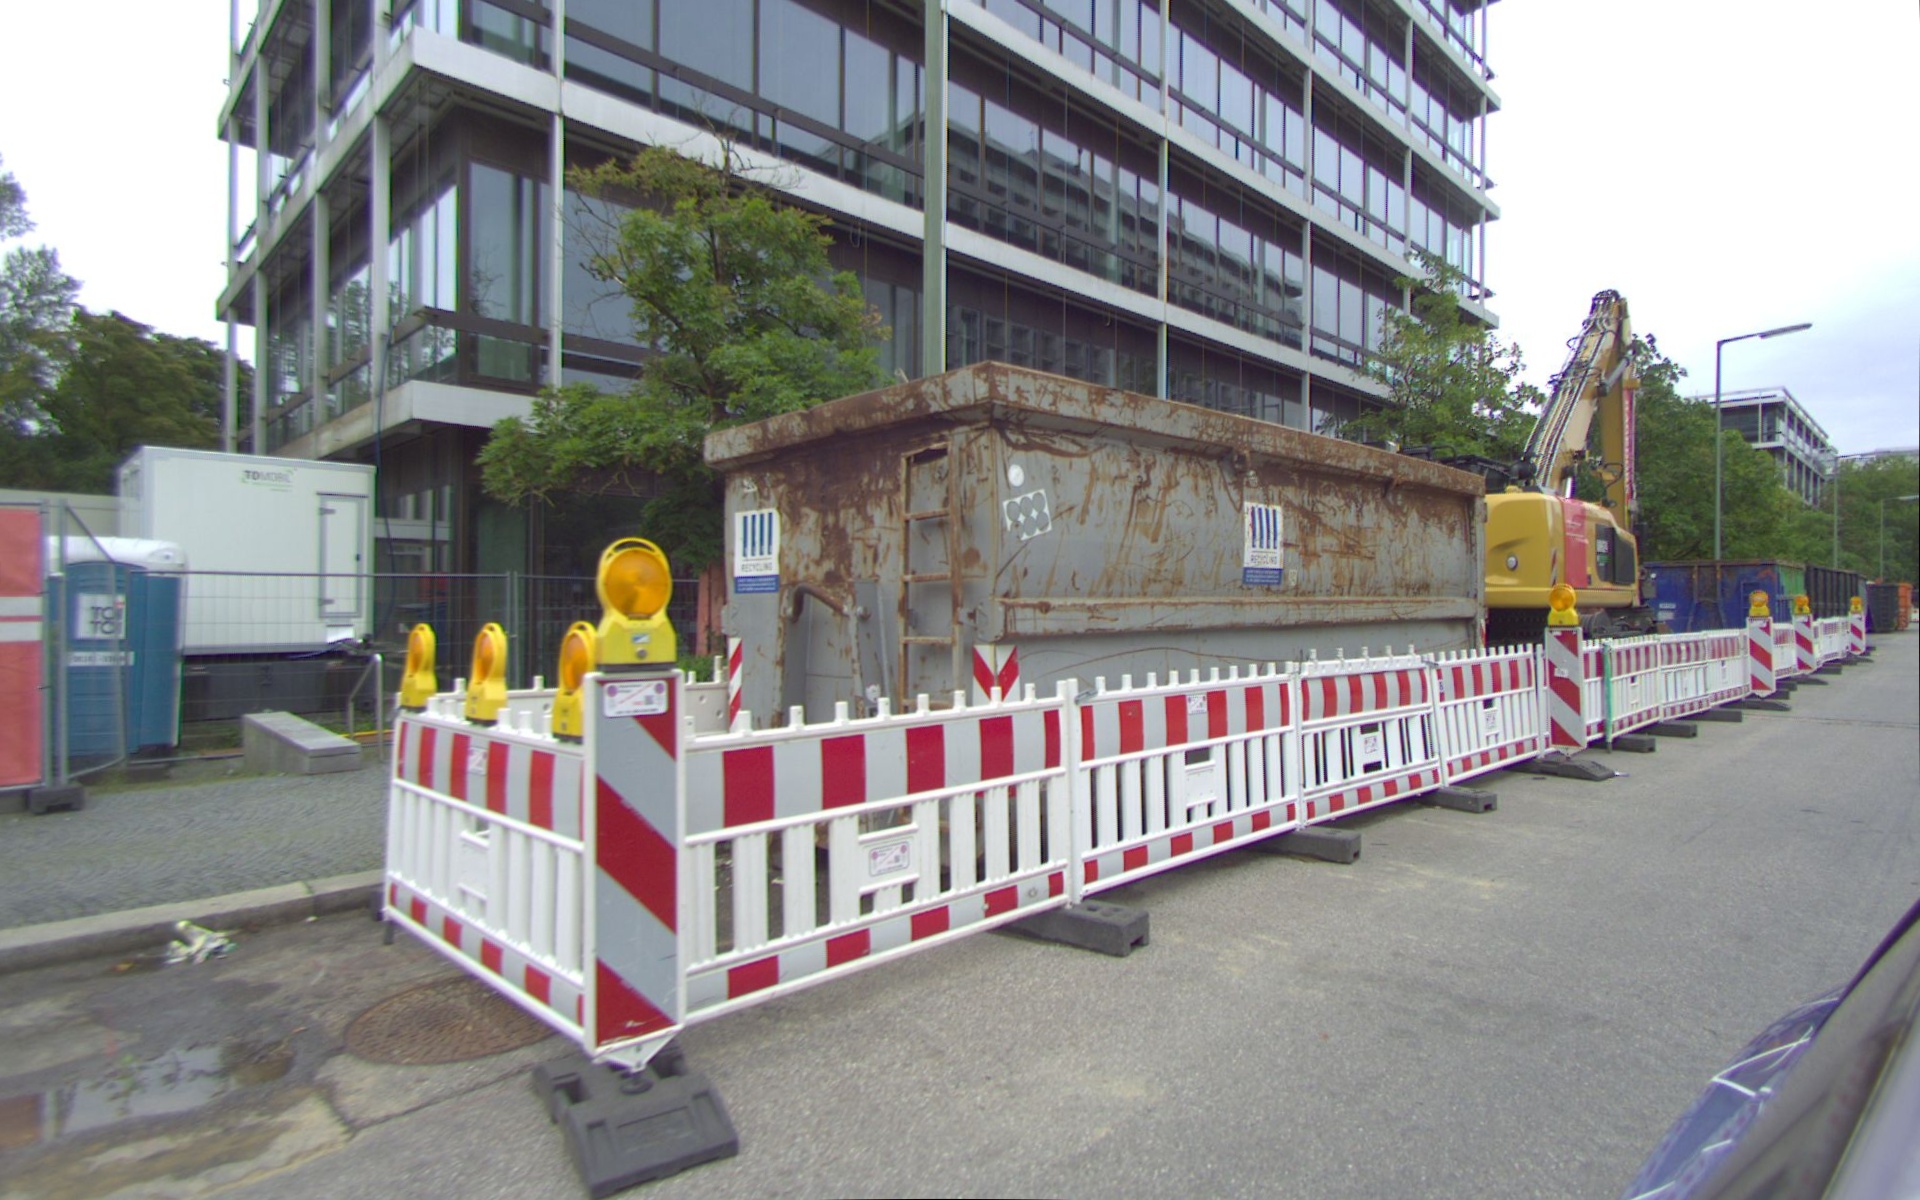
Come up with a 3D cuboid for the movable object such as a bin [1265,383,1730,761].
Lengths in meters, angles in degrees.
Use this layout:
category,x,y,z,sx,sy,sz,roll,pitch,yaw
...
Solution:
category,x,y,z,sx,sy,sz,roll,pitch,yaw
movable object such as a bin,8.051,-0.327,14.341,8.859,3.763,3.243,-1,0,-44
